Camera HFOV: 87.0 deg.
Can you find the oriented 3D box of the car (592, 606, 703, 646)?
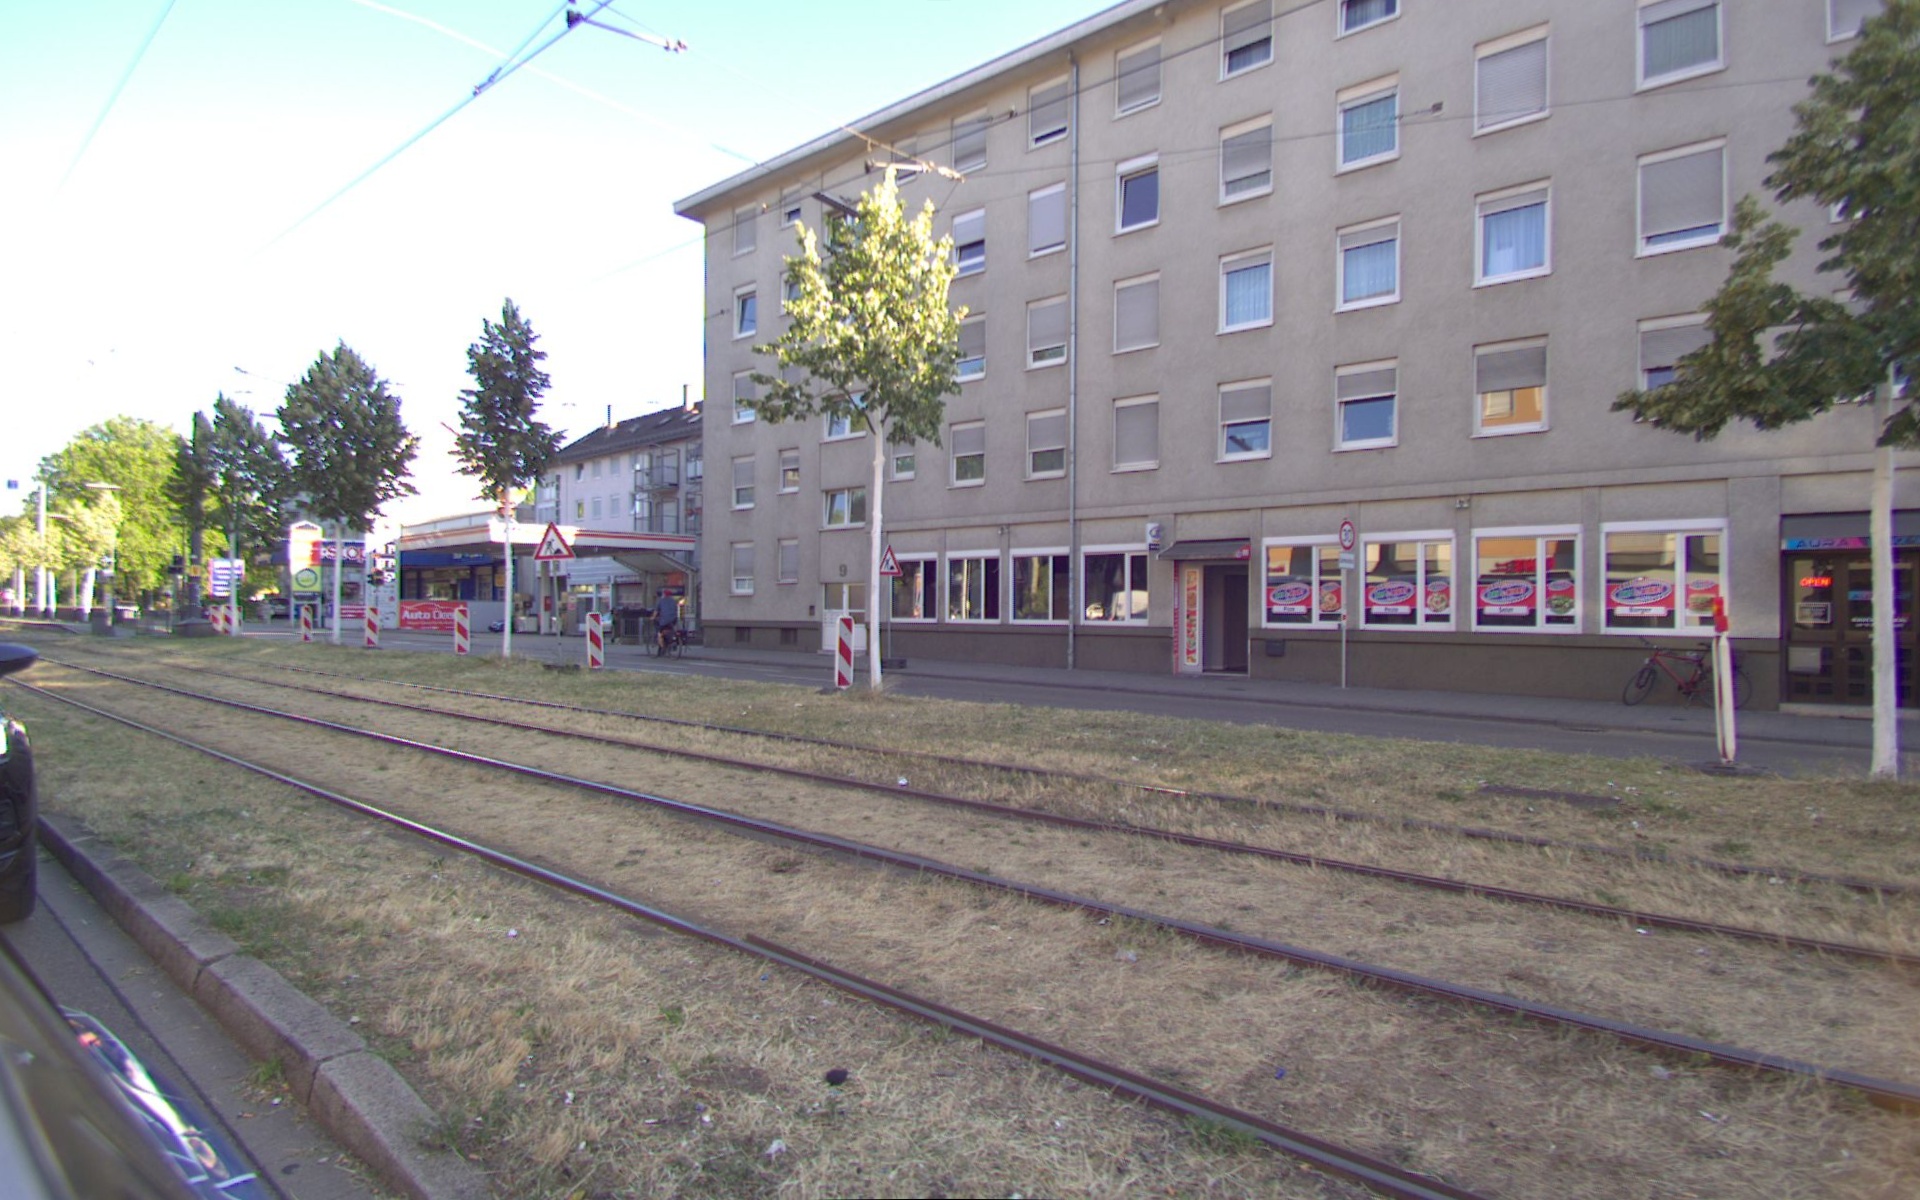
[{"bbox_3d":[-12.072,1.019,39.185,1.906,1.480,3.680,-3,-3,40],"label":"car"}]

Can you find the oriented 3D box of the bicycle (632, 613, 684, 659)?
[{"bbox_3d":[-8.531,0.996,28.546,1.869,1.267,0.450,-1,-1,40],"label":"bicycle"}]

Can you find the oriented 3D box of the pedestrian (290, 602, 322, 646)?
[{"bbox_3d":[-19.541,0.721,30.247,0.581,1.280,0.655,-1,0,42],"label":"pedestrian"}]

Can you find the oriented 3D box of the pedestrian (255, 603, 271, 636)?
[{"bbox_3d":[-42.940,1.186,62.323,0.583,2.028,0.623,0,2,42],"label":"pedestrian"}]

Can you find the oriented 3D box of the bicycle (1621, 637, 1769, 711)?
[{"bbox_3d":[11.519,1.128,15.890,1.844,1.031,0.601,0,1,41],"label":"bicycle"}]

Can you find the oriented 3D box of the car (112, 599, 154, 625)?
[{"bbox_3d":[-58.906,0.804,72.076,1.970,1.747,4.397,-1,1,-44],"label":"car"}]

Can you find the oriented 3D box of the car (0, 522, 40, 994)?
[{"bbox_3d":[-5.447,0.587,4.348,3.998,1.690,1.752,0,1,41],"label":"car"}]

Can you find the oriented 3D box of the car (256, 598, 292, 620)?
[{"bbox_3d":[-51.395,0.640,75.794,1.756,1.567,4.007,-1,1,-40],"label":"car"}]

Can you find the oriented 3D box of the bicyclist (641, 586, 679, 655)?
[{"bbox_3d":[-8.447,0.572,28.499,0.808,1.897,0.644,0,-2,40],"label":"bicyclist"}]
